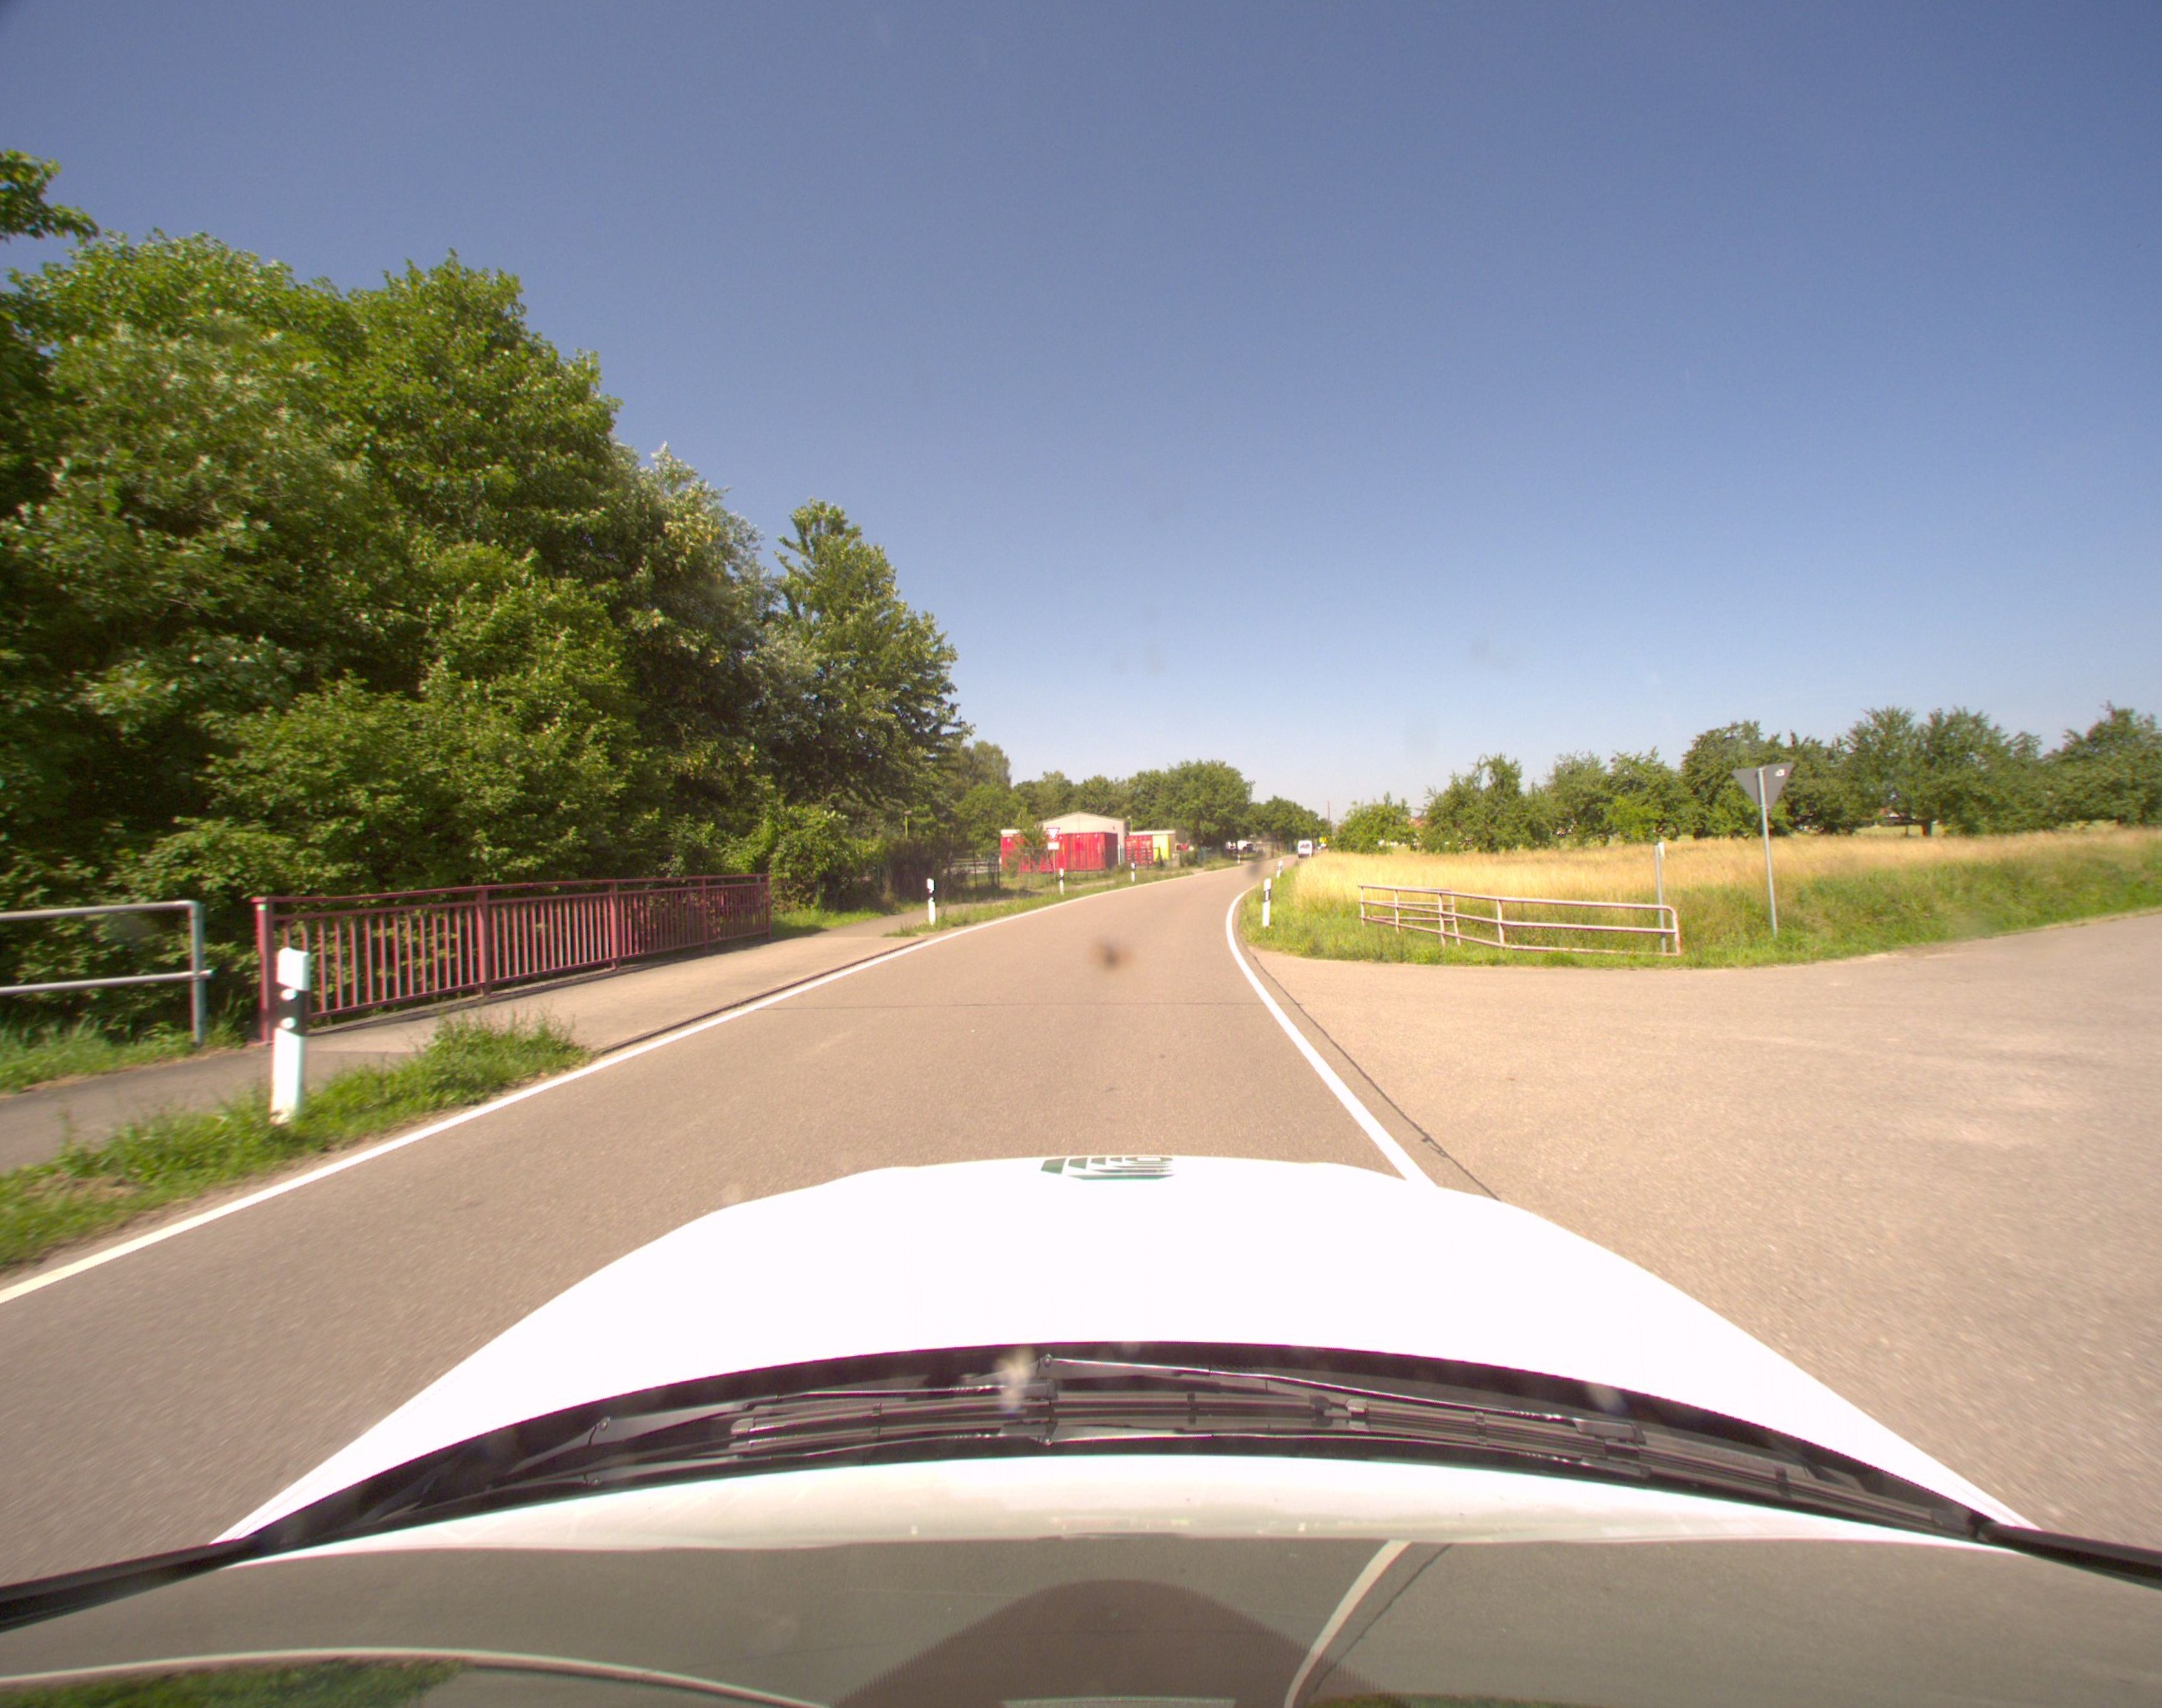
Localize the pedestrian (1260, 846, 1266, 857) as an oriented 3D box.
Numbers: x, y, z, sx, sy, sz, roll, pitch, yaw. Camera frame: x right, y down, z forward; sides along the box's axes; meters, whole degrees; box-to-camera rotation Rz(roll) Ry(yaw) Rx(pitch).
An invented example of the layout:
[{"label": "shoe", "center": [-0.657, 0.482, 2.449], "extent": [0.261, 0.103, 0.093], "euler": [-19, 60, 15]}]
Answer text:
[{"label": "pedestrian", "center": [30.418, -0.419, 136.171], "extent": [0.713, 1.803, 0.714], "euler": [-3, 0, 41]}]

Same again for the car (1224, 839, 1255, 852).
[{"label": "car", "center": [30.861, -1.706, 158.411], "extent": [5.614, 2.266, 1.986], "euler": [-2, 0, -21]}]

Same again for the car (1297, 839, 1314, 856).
[{"label": "car", "center": [32.423, -0.938, 117.456], "extent": [1.977, 2.266, 4.749], "euler": [-2, 0, 19]}]

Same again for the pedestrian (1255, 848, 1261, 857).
[{"label": "pedestrian", "center": [29.532, -0.253, 135.891], "extent": [0.670, 1.566, 0.723], "euler": [-3, 0, 41]}]
